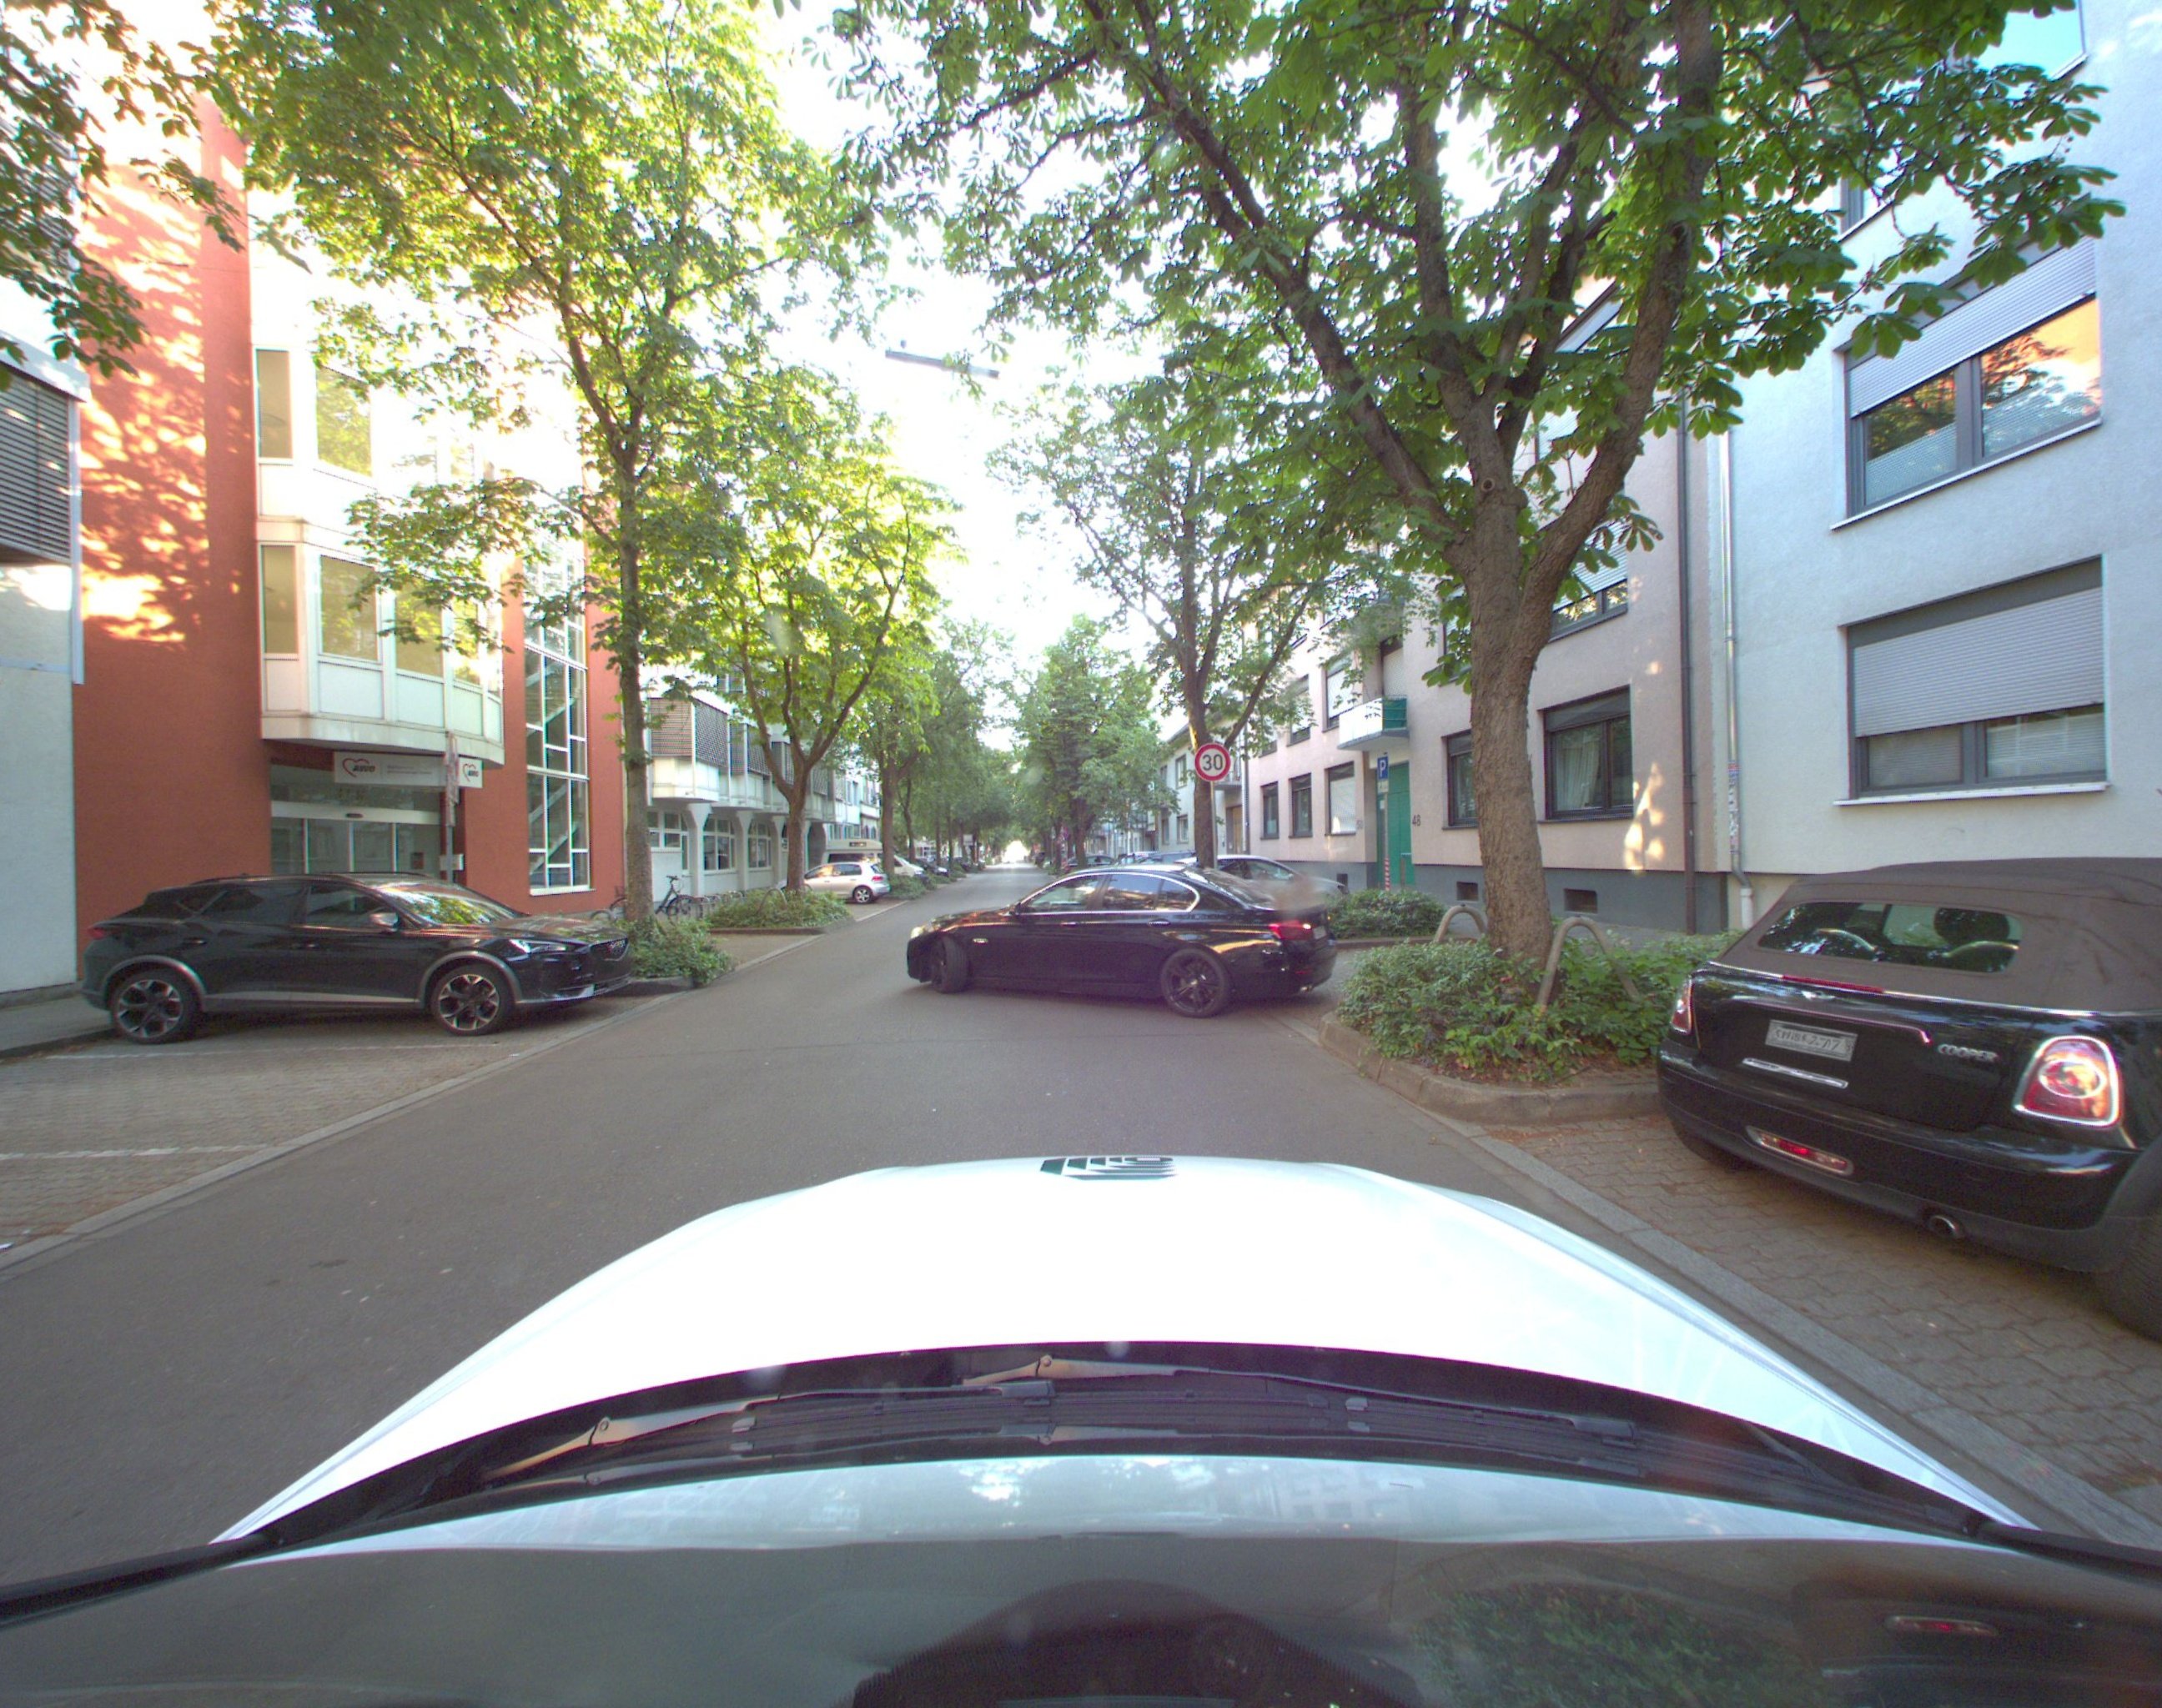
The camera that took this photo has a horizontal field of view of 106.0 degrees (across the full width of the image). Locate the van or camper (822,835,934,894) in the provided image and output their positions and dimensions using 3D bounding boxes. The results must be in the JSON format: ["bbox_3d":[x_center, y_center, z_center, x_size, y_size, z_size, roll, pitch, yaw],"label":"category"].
[{"bbox_3d":[-9.284,0.464,37.494,4.656,2.478,1.997,-1,0,-5],"label":"van or camper"}]

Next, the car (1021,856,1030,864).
[{"bbox_3d":[-11.073,1.160,163.152,1.819,1.530,3.995,-2,0,-4],"label":"car"}]

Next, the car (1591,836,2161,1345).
[{"bbox_3d":[4.351,0.626,3.343,3.608,1.363,1.660,-2,0,-8],"label":"car"}]

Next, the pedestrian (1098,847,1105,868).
[{"bbox_3d":[2.033,0.336,79.820,0.587,2.013,0.669,-1,0,-3],"label":"pedestrian"}]

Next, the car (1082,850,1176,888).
[{"bbox_3d":[2.085,0.652,36.316,3.962,1.527,1.782,-2,0,-5],"label":"car"}]

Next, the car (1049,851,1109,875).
[{"bbox_3d":[-0.163,0.640,57.062,3.963,1.527,1.781,-2,0,-6],"label":"car"}]

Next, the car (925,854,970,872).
[{"bbox_3d":[-12.540,0.830,76.722,3.959,1.619,1.783,-2,0,-4],"label":"car"}]

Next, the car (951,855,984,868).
[{"bbox_3d":[-14.408,0.931,103.470,3.959,1.619,1.783,-2,0,-4],"label":"car"}]

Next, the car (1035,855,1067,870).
[{"bbox_3d":[-3.708,1.027,101.129,3.959,1.684,1.783,-2,0,-4],"label":"car"}]

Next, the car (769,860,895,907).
[{"bbox_3d":[-8.840,1.019,29.160,3.960,1.517,1.783,-2,0,-4],"label":"car"}]

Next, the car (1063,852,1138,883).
[{"bbox_3d":[1.027,0.726,45.158,3.962,1.527,1.782,-2,0,-5],"label":"car"}]

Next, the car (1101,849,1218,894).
[{"bbox_3d":[2.824,0.615,29.837,3.963,1.476,1.781,-2,0,-7],"label":"car"}]

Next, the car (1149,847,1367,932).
[{"bbox_3d":[3.444,0.665,16.193,3.904,1.476,1.661,-2,0,-7],"label":"car"}]

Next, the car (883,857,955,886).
[{"bbox_3d":[-9.584,1.021,48.497,3.960,1.619,1.783,-2,0,-4],"label":"car"}]

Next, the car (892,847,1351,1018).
[{"bbox_3d":[0.355,0.724,9.008,4.700,1.480,1.811,-1,0,29],"label":"car"}]

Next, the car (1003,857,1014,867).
[{"bbox_3d":[-12.808,1.387,144.497,1.775,1.562,4.162,-1,0,-4],"label":"car"}]

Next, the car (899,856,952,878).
[{"bbox_3d":[-12.385,1.042,65.044,3.959,1.619,1.783,-2,0,-4],"label":"car"}]

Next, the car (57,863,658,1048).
[{"bbox_3d":[-7.019,0.916,8.348,4.347,1.517,1.782,-2,0,-5],"label":"car"}]
